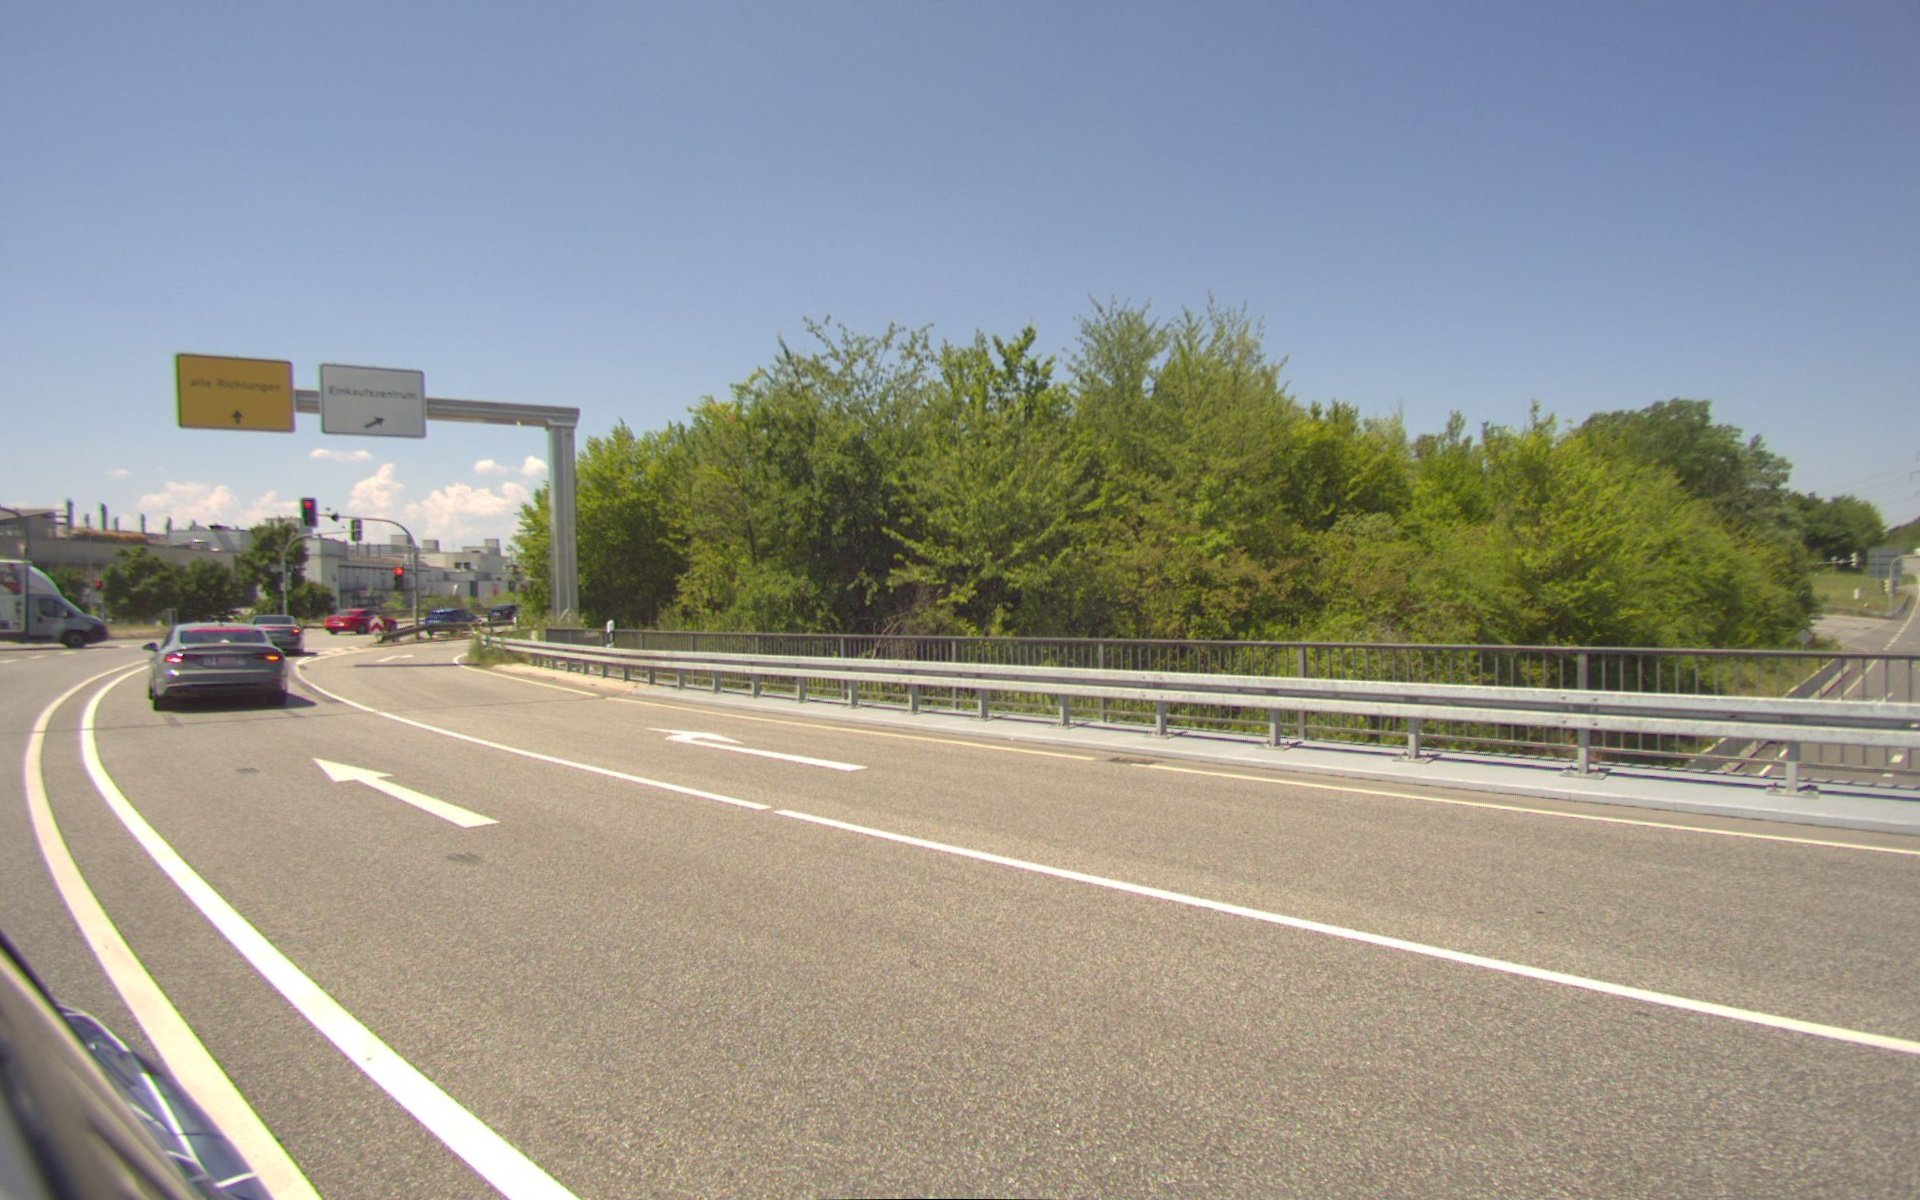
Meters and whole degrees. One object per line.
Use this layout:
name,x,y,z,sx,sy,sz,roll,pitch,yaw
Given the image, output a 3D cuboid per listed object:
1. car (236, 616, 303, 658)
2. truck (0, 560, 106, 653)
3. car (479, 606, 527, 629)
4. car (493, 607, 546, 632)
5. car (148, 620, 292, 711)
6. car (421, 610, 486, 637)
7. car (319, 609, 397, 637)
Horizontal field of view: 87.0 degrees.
car,-24.157,1.276,35.512,1.623,1.362,3.980,2,-2,-30
truck,-36.560,0.215,37.744,7.087,3.372,2.421,0,2,-39
car,-35.507,1.334,78.679,1.853,1.613,4.509,2,0,-3
car,-30.802,1.369,70.885,1.759,1.493,4.429,3,1,0
car,-13.040,1.058,17.727,1.756,1.395,4.289,1,-2,-40
car,-29.462,1.359,58.980,1.688,1.473,4.491,1,0,-2
car,-34.248,1.300,57.709,1.644,1.399,4.445,1,1,3
